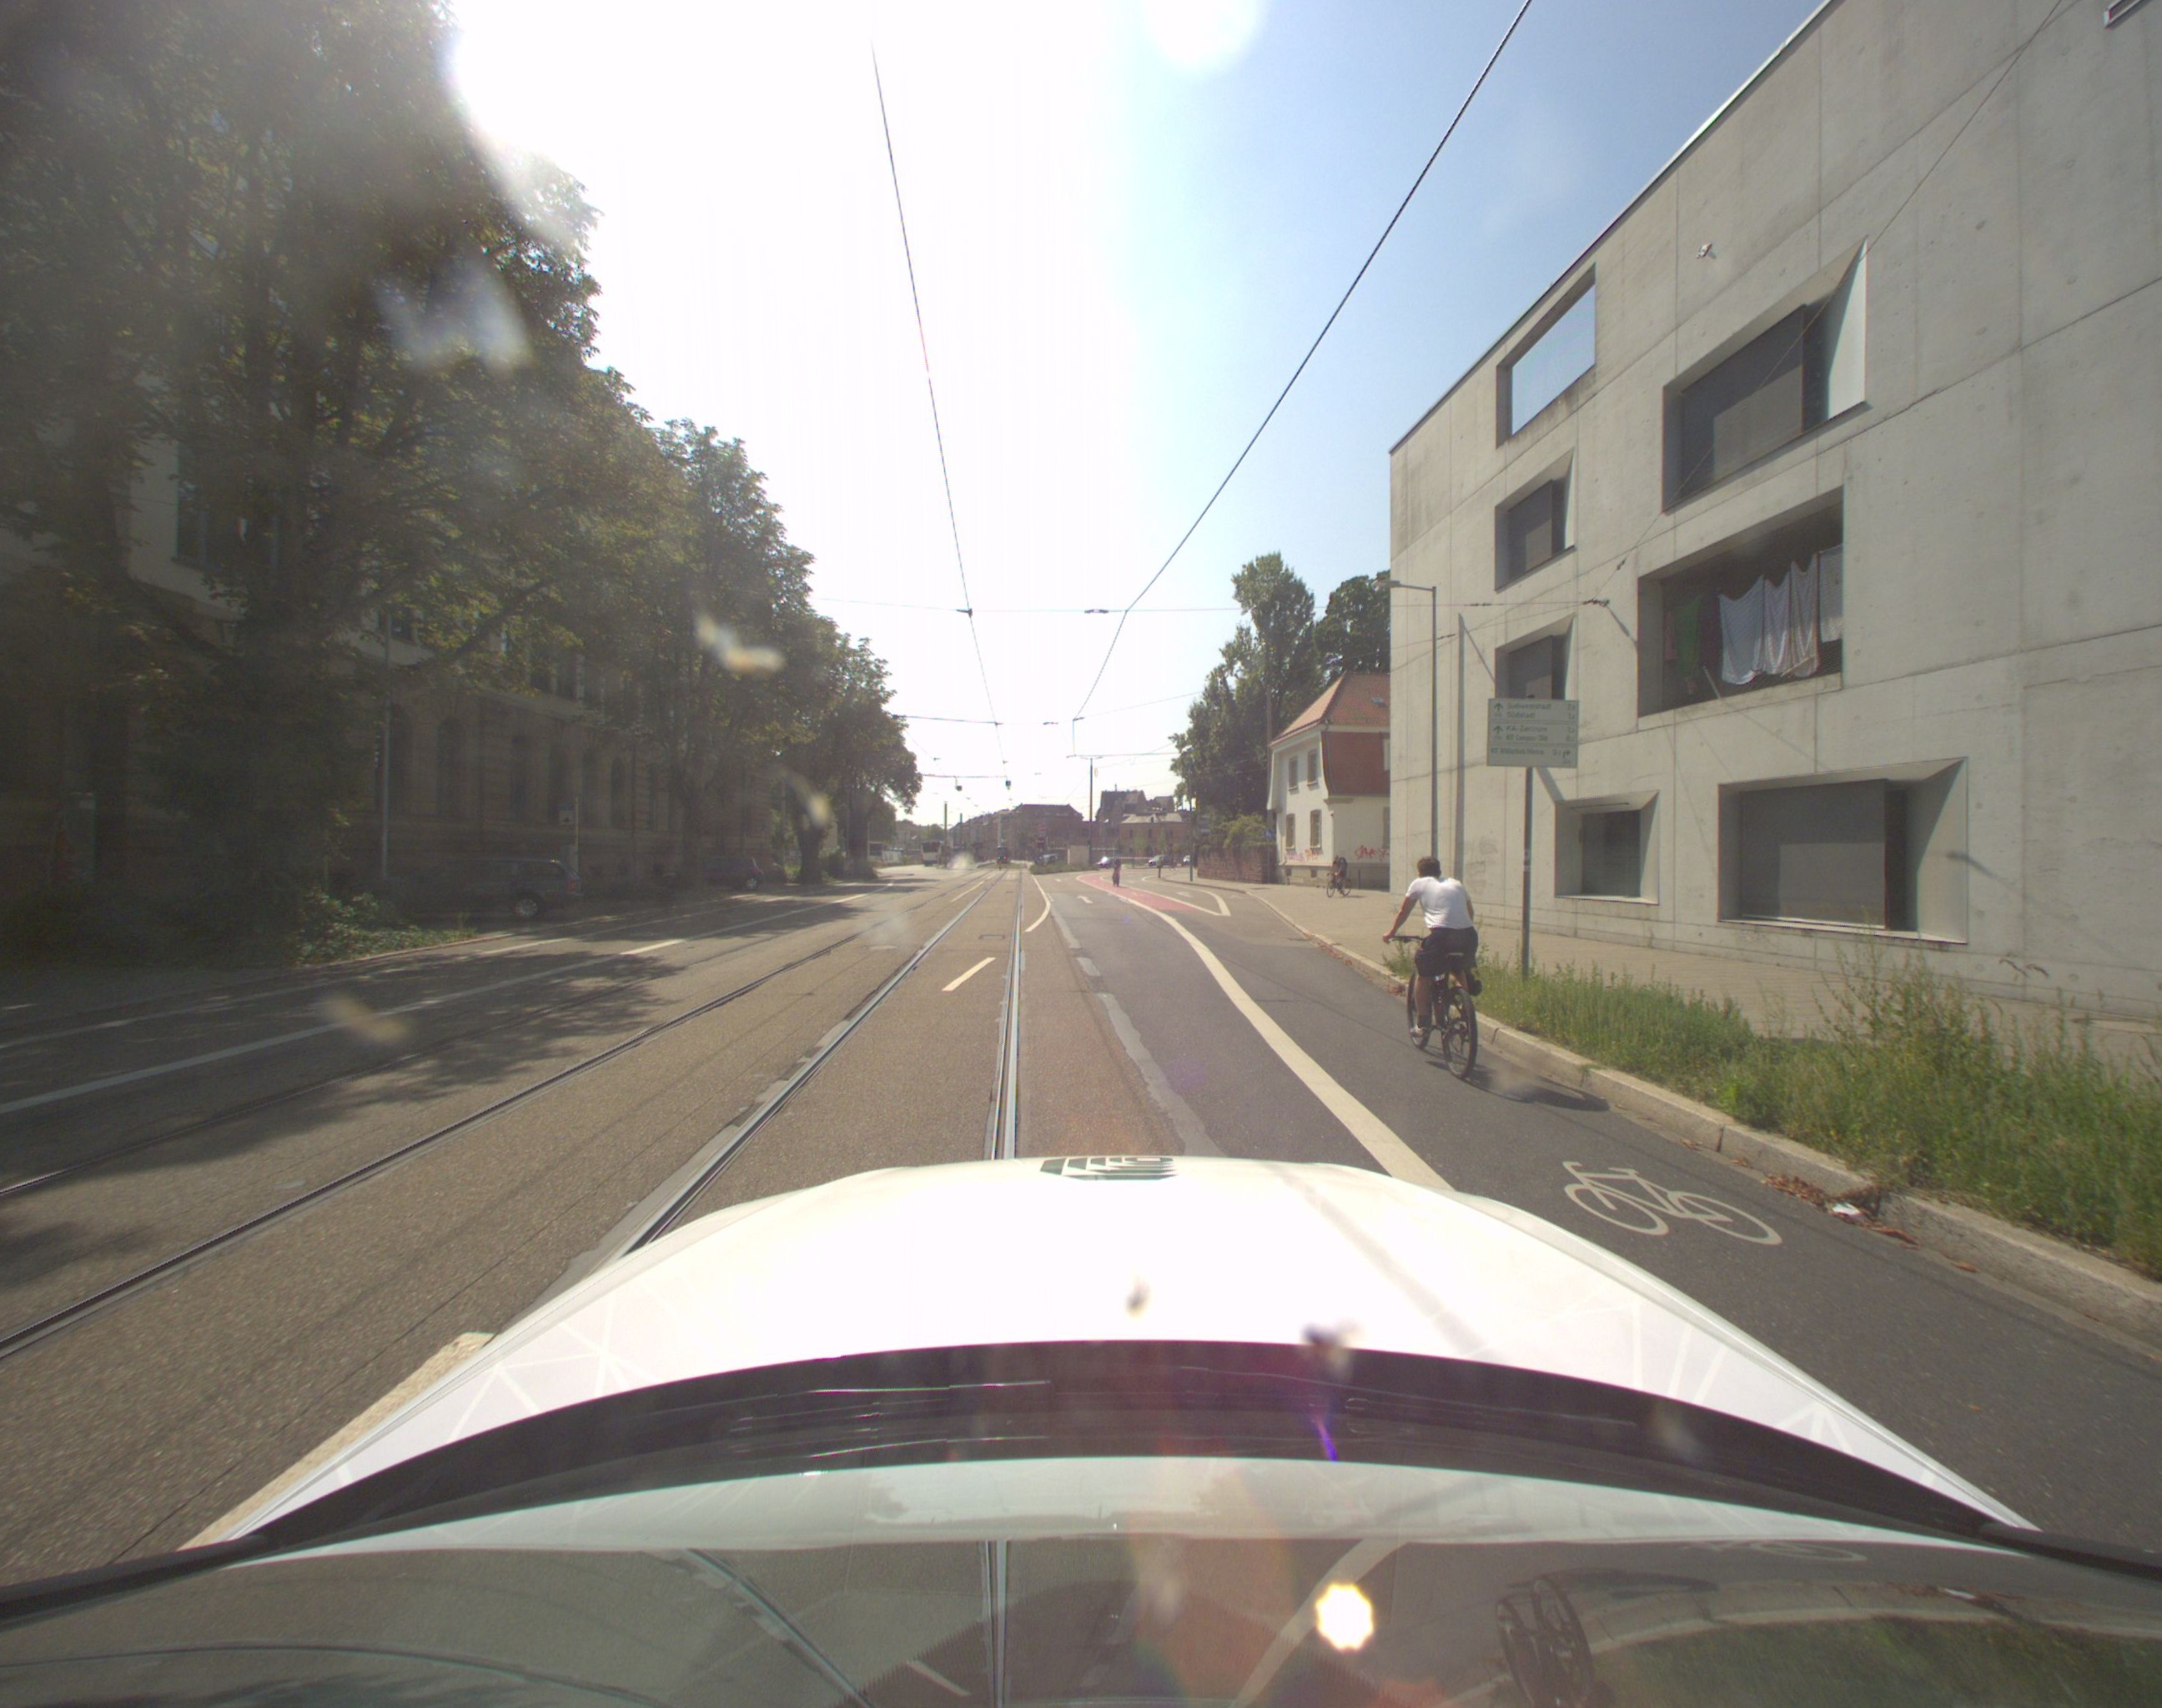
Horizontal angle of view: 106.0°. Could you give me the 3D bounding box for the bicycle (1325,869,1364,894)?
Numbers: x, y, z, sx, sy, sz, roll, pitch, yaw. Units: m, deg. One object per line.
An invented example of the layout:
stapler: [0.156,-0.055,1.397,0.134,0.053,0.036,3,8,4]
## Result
bicycle: [10.605,1.095,32.768,1.718,1.000,0.609,1,-1,-35]

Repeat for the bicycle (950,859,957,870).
bicycle: [-15.208,1.267,96.991,0.605,1.223,1.705,0,0,0]

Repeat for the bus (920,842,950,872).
bus: [-19.615,0.404,109.841,2.953,3.775,10.578,1,-1,-5]

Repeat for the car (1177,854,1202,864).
car: [15.748,0.711,118.207,1.634,1.530,4.353,-1,-1,36]

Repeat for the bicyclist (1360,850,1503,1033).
bicyclist: [2.878,0.676,6.780,0.743,1.411,0.960,0,0,-4]

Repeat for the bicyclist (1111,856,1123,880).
bicyclist: [1.957,0.765,44.798,0.601,1.335,0.659,0,-1,-2]

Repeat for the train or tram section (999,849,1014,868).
train or tram section: [-16.993,0.981,186.709,2.880,4.068,19.114,1,-1,-4]

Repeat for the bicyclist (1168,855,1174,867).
bicyclist: [10.515,0.802,95.040,0.445,1.421,0.499,-1,-1,31]

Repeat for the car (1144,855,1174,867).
car: [10.543,0.945,109.634,1.755,1.610,4.703,0,0,38]

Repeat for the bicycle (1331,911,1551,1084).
bicycle: [2.868,1.082,6.818,0.738,1.049,2.230,0,0,-4]

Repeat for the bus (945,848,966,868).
bus: [-23.834,0.788,155.265,2.703,3.727,10.407,1,-1,-3]

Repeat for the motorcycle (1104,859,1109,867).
motorcycle: [3.873,1.291,122.213,0.601,1.210,2.258,0,0,7]

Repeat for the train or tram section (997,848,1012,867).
train or tram section: [-15.618,0.714,167.077,2.851,3.548,17.713,1,-1,-4]

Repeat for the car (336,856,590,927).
car: [-13.910,0.810,18.718,4.444,1.462,1.803,1,0,-31]

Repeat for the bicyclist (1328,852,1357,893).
bicyclist: [10.475,0.738,32.673,0.996,1.598,0.621,1,-1,-34]

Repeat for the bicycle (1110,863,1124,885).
bicycle: [1.967,1.076,44.756,0.602,1.163,1.809,0,0,-2]

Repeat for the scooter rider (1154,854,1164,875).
scooter rider: [6.797,0.908,70.870,0.756,1.775,0.557,0,-1,17]

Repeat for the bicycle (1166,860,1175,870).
bicycle: [10.458,1.299,94.937,0.440,1.117,1.455,-1,-1,32]

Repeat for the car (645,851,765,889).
car: [-15.454,0.623,33.586,4.186,1.496,1.799,0,0,-42]

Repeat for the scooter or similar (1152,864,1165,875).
scooter or similar: [6.741,1.343,70.722,0.766,0.926,1.628,0,0,18]
